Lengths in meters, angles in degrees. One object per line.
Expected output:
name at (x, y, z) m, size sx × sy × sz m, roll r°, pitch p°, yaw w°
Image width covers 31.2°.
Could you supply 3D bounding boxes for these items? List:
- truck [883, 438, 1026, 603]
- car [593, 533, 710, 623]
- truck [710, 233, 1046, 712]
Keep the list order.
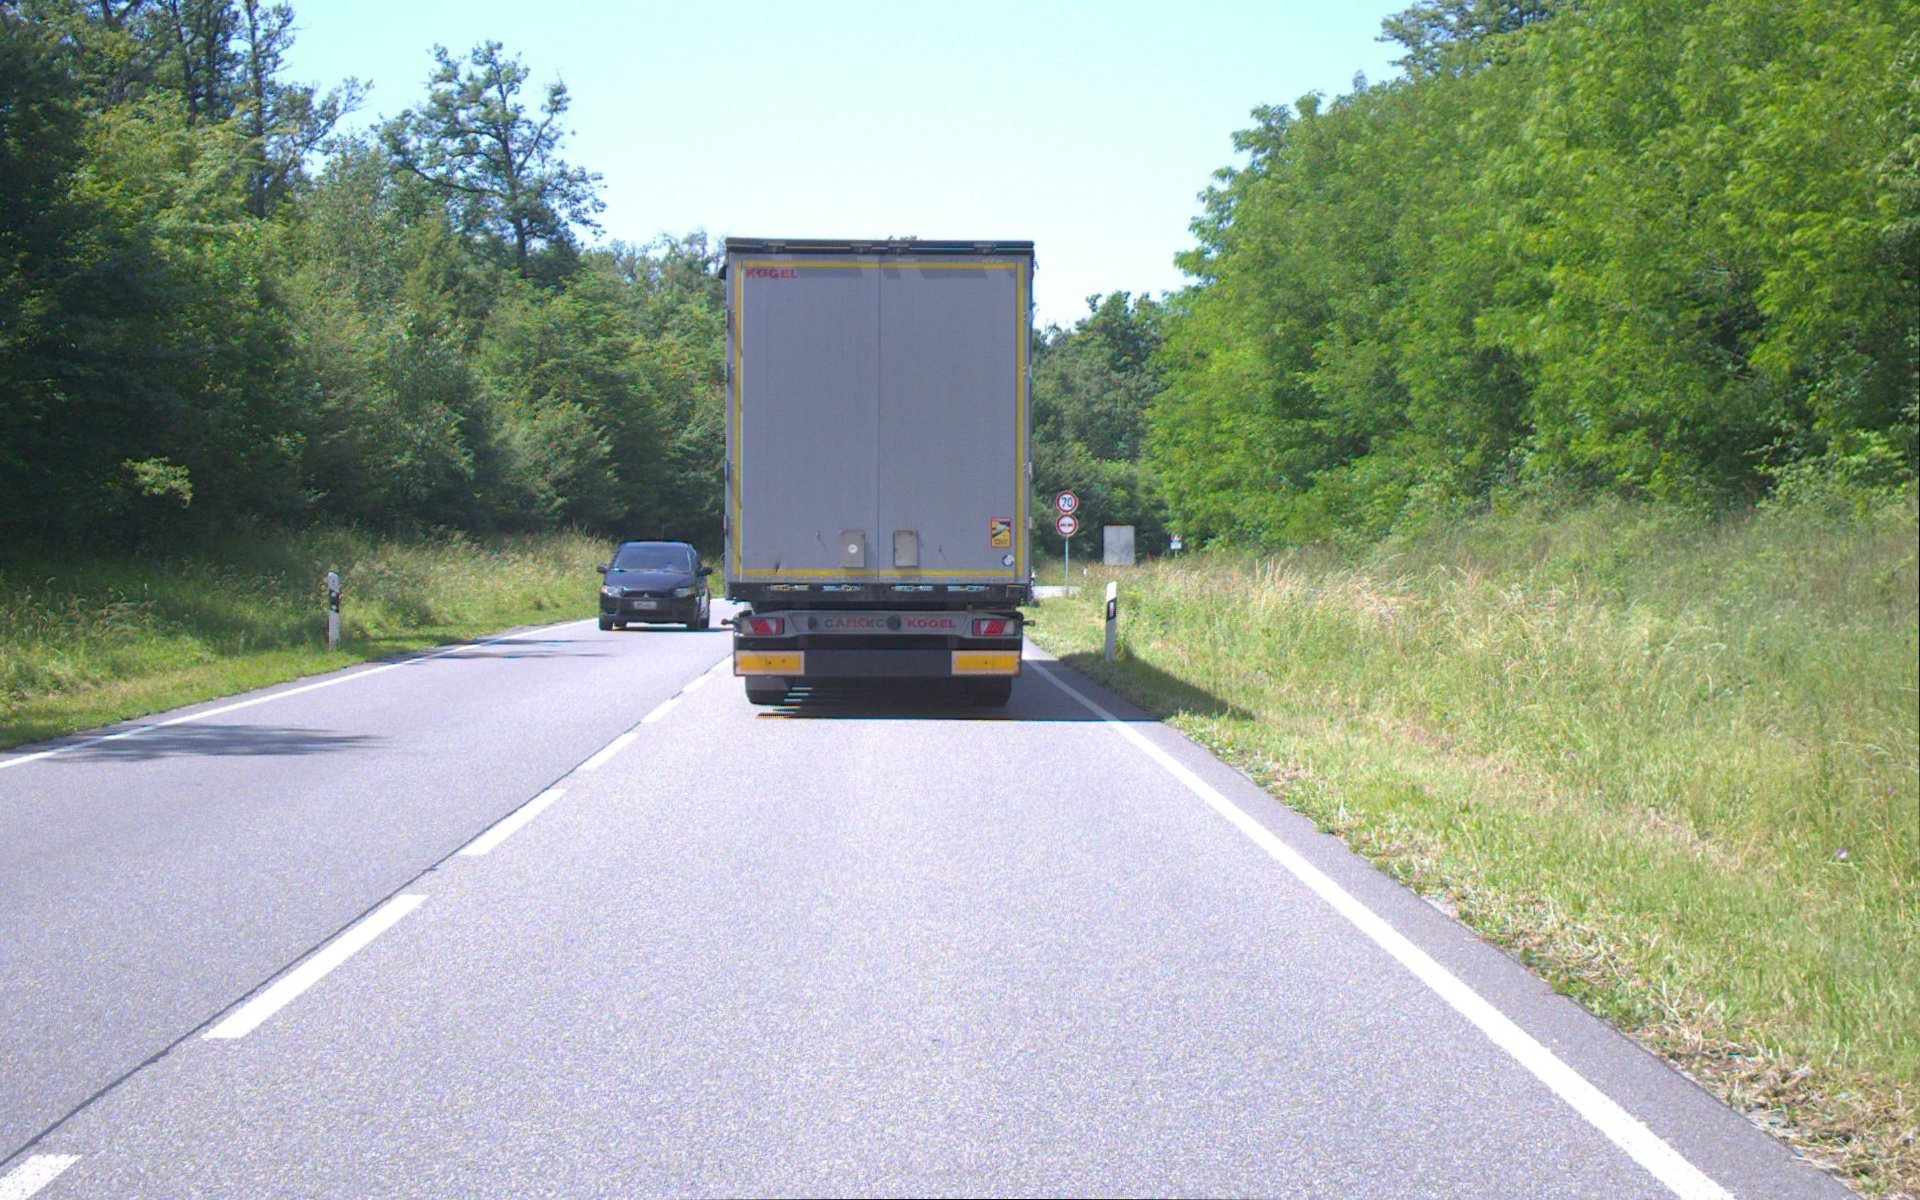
truck at (-0.048, -2.259, 99.400) m, size 3.793 × 4.358 × 14.920 m, roll 1°, pitch 1°, yaw 1°
car at (-5.260, -0.399, 58.906) m, size 1.660 × 1.490 × 3.805 m, roll 0°, pitch 1°, yaw 0°
truck at (-0.806, -1.167, 34.419) m, size 2.761 × 3.933 × 12.199 m, roll 0°, pitch 1°, yaw -1°
